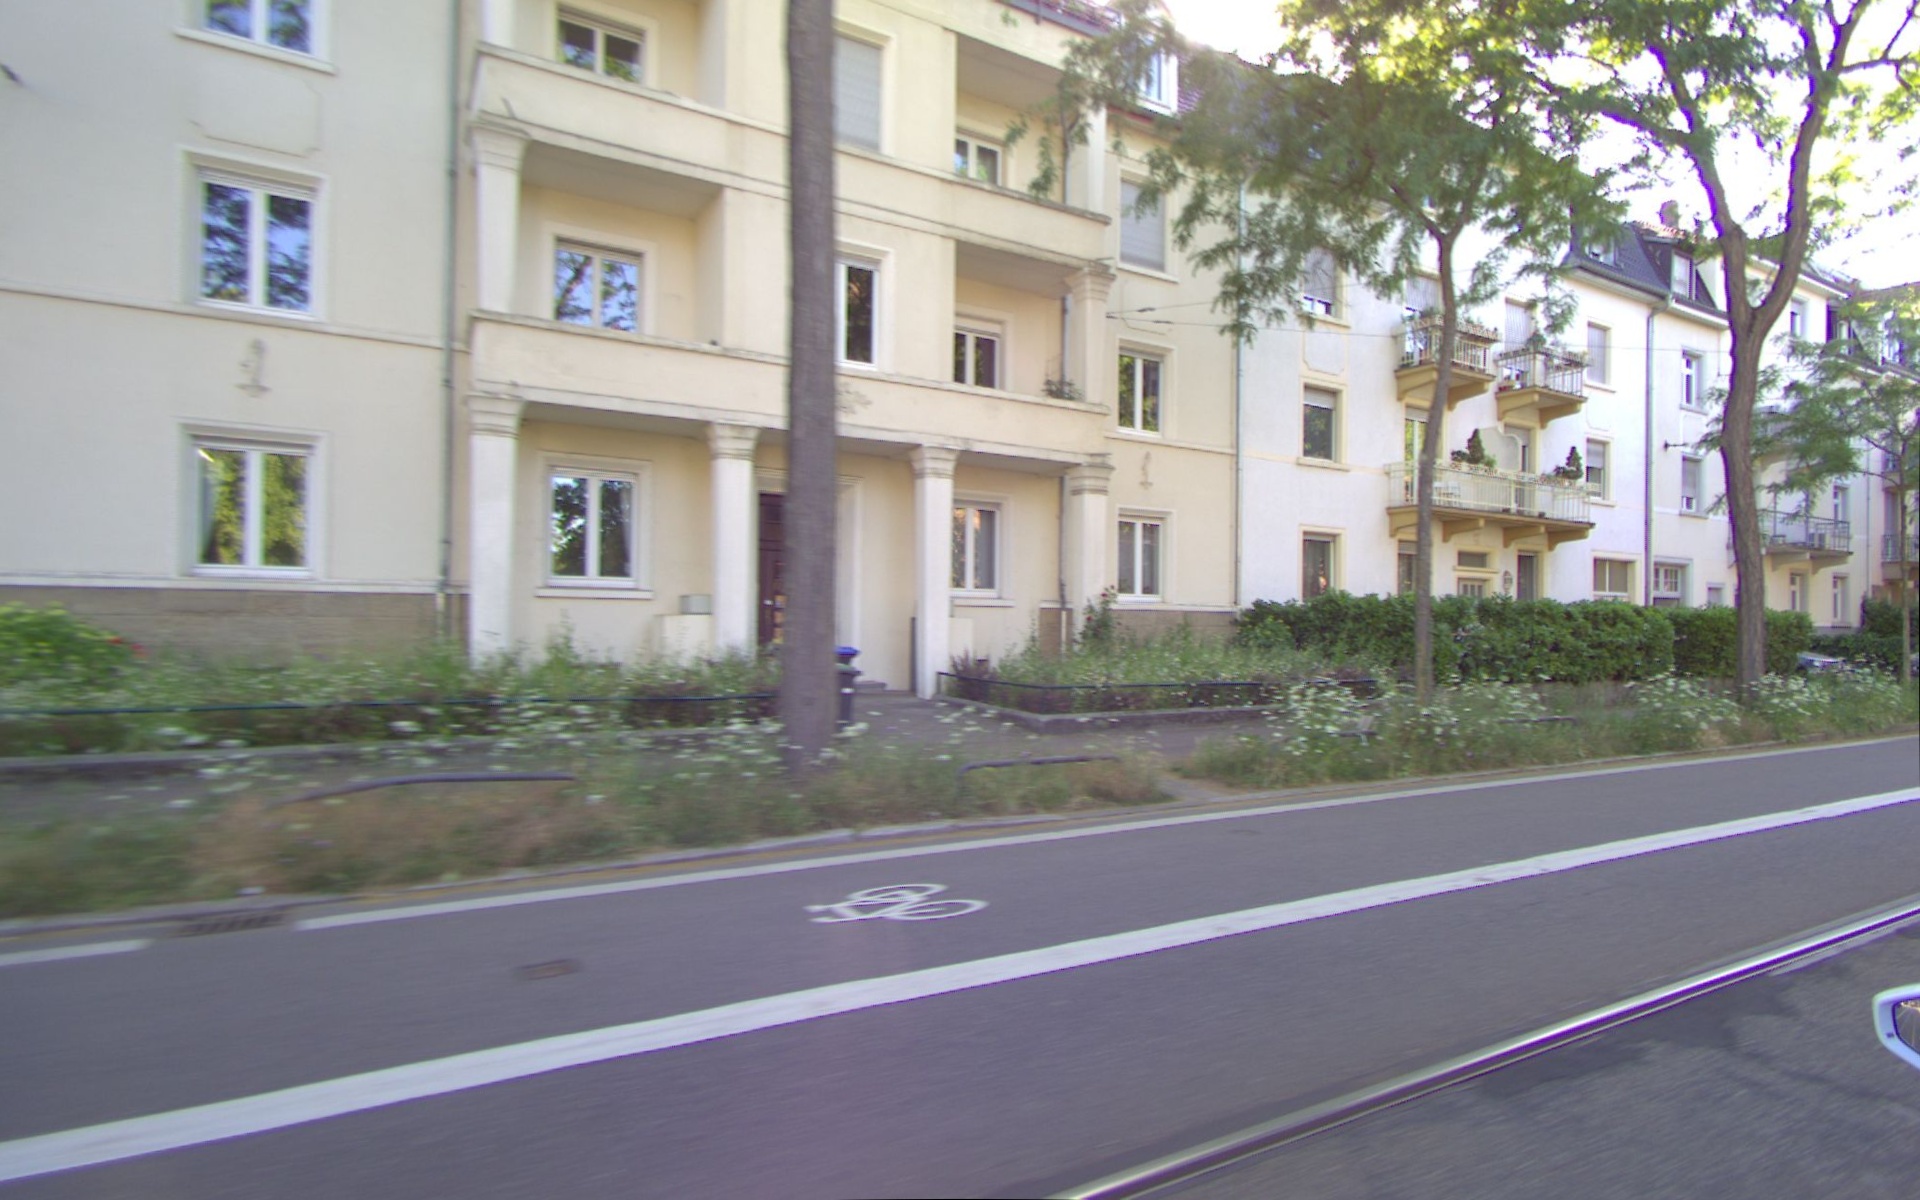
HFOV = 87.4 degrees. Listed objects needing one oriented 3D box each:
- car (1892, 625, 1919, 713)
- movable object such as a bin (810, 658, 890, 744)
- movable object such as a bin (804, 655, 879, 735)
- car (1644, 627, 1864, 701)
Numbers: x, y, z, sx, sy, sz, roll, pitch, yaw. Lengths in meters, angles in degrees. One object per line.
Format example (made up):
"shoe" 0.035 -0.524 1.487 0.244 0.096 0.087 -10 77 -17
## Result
"car" 22.742 1.547 22.316 4.720 1.847 1.860 2 -1 -33
"movable object such as a bin" -1.307 1.173 11.882 0.731 0.934 0.625 2 0 -30
"movable object such as a bin" -1.483 1.170 12.588 0.731 0.934 0.625 2 0 -30
"car" 21.513 1.682 27.407 1.929 1.683 4.282 2 0 -28
